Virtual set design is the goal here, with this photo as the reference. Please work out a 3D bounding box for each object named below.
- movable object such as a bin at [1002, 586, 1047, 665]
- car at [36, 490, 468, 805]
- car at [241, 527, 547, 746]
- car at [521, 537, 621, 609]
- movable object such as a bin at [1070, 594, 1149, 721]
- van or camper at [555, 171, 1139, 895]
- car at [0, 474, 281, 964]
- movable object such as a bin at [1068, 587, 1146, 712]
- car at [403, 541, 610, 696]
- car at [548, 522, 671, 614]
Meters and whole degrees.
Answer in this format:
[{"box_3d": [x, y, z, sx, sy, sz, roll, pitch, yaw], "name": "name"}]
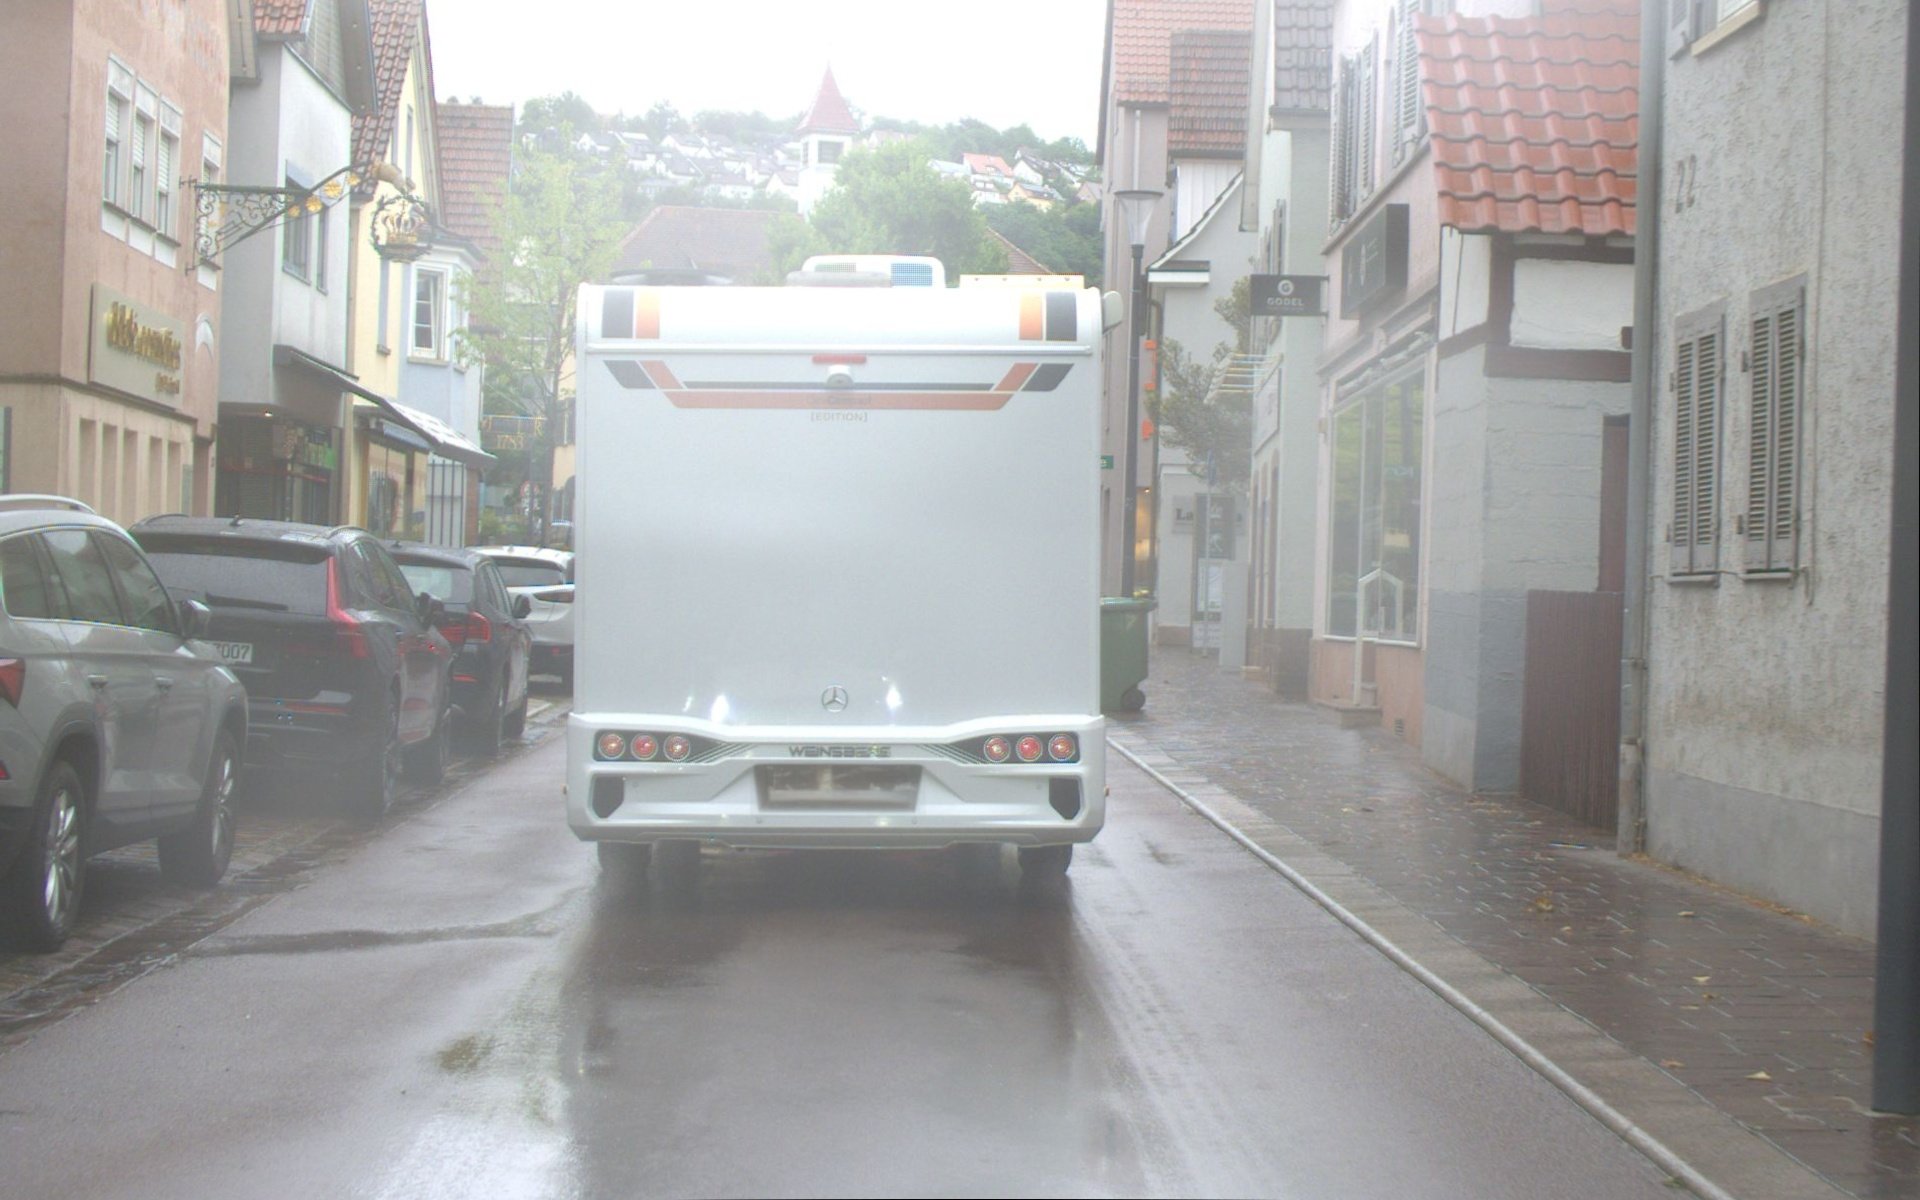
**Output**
[{"box_3d": [1.031, 0.402, 54.886, 0.658, 1.234, 0.621, 1, -1, -2], "name": "movable object such as a bin"}, {"box_3d": [-4.175, 0.275, 20.972, 1.833, 1.669, 4.540, 1, -1, -2], "name": "car"}, {"box_3d": [-4.362, 0.280, 27.077, 1.833, 1.546, 4.282, 1, -1, -2], "name": "car"}, {"box_3d": [-11.401, -0.767, 100.597, 1.993, 2.007, 4.001, 2, -1, -20], "name": "car"}, {"box_3d": [1.440, 0.555, 33.152, 0.718, 1.197, 0.573, 1, -1, 0], "name": "movable object such as a bin"}, {"box_3d": [-0.694, -0.246, 17.294, 2.325, 2.909, 6.394, 1, -1, -4], "name": "van or camper"}, {"box_3d": [-4.122, 0.382, 13.939, 1.771, 1.669, 4.479, 3, -1, 0], "name": "car"}, {"box_3d": [1.437, 0.486, 33.755, 0.718, 1.197, 0.578, 1, -1, 0], "name": "movable object such as a bin"}, {"box_3d": [-4.893, 0.203, 37.569, 1.827, 1.561, 4.000, 1, -1, -2], "name": "car"}, {"box_3d": [-6.103, -0.560, 59.544, 1.993, 1.467, 4.001, 2, 0, -7], "name": "car"}]
